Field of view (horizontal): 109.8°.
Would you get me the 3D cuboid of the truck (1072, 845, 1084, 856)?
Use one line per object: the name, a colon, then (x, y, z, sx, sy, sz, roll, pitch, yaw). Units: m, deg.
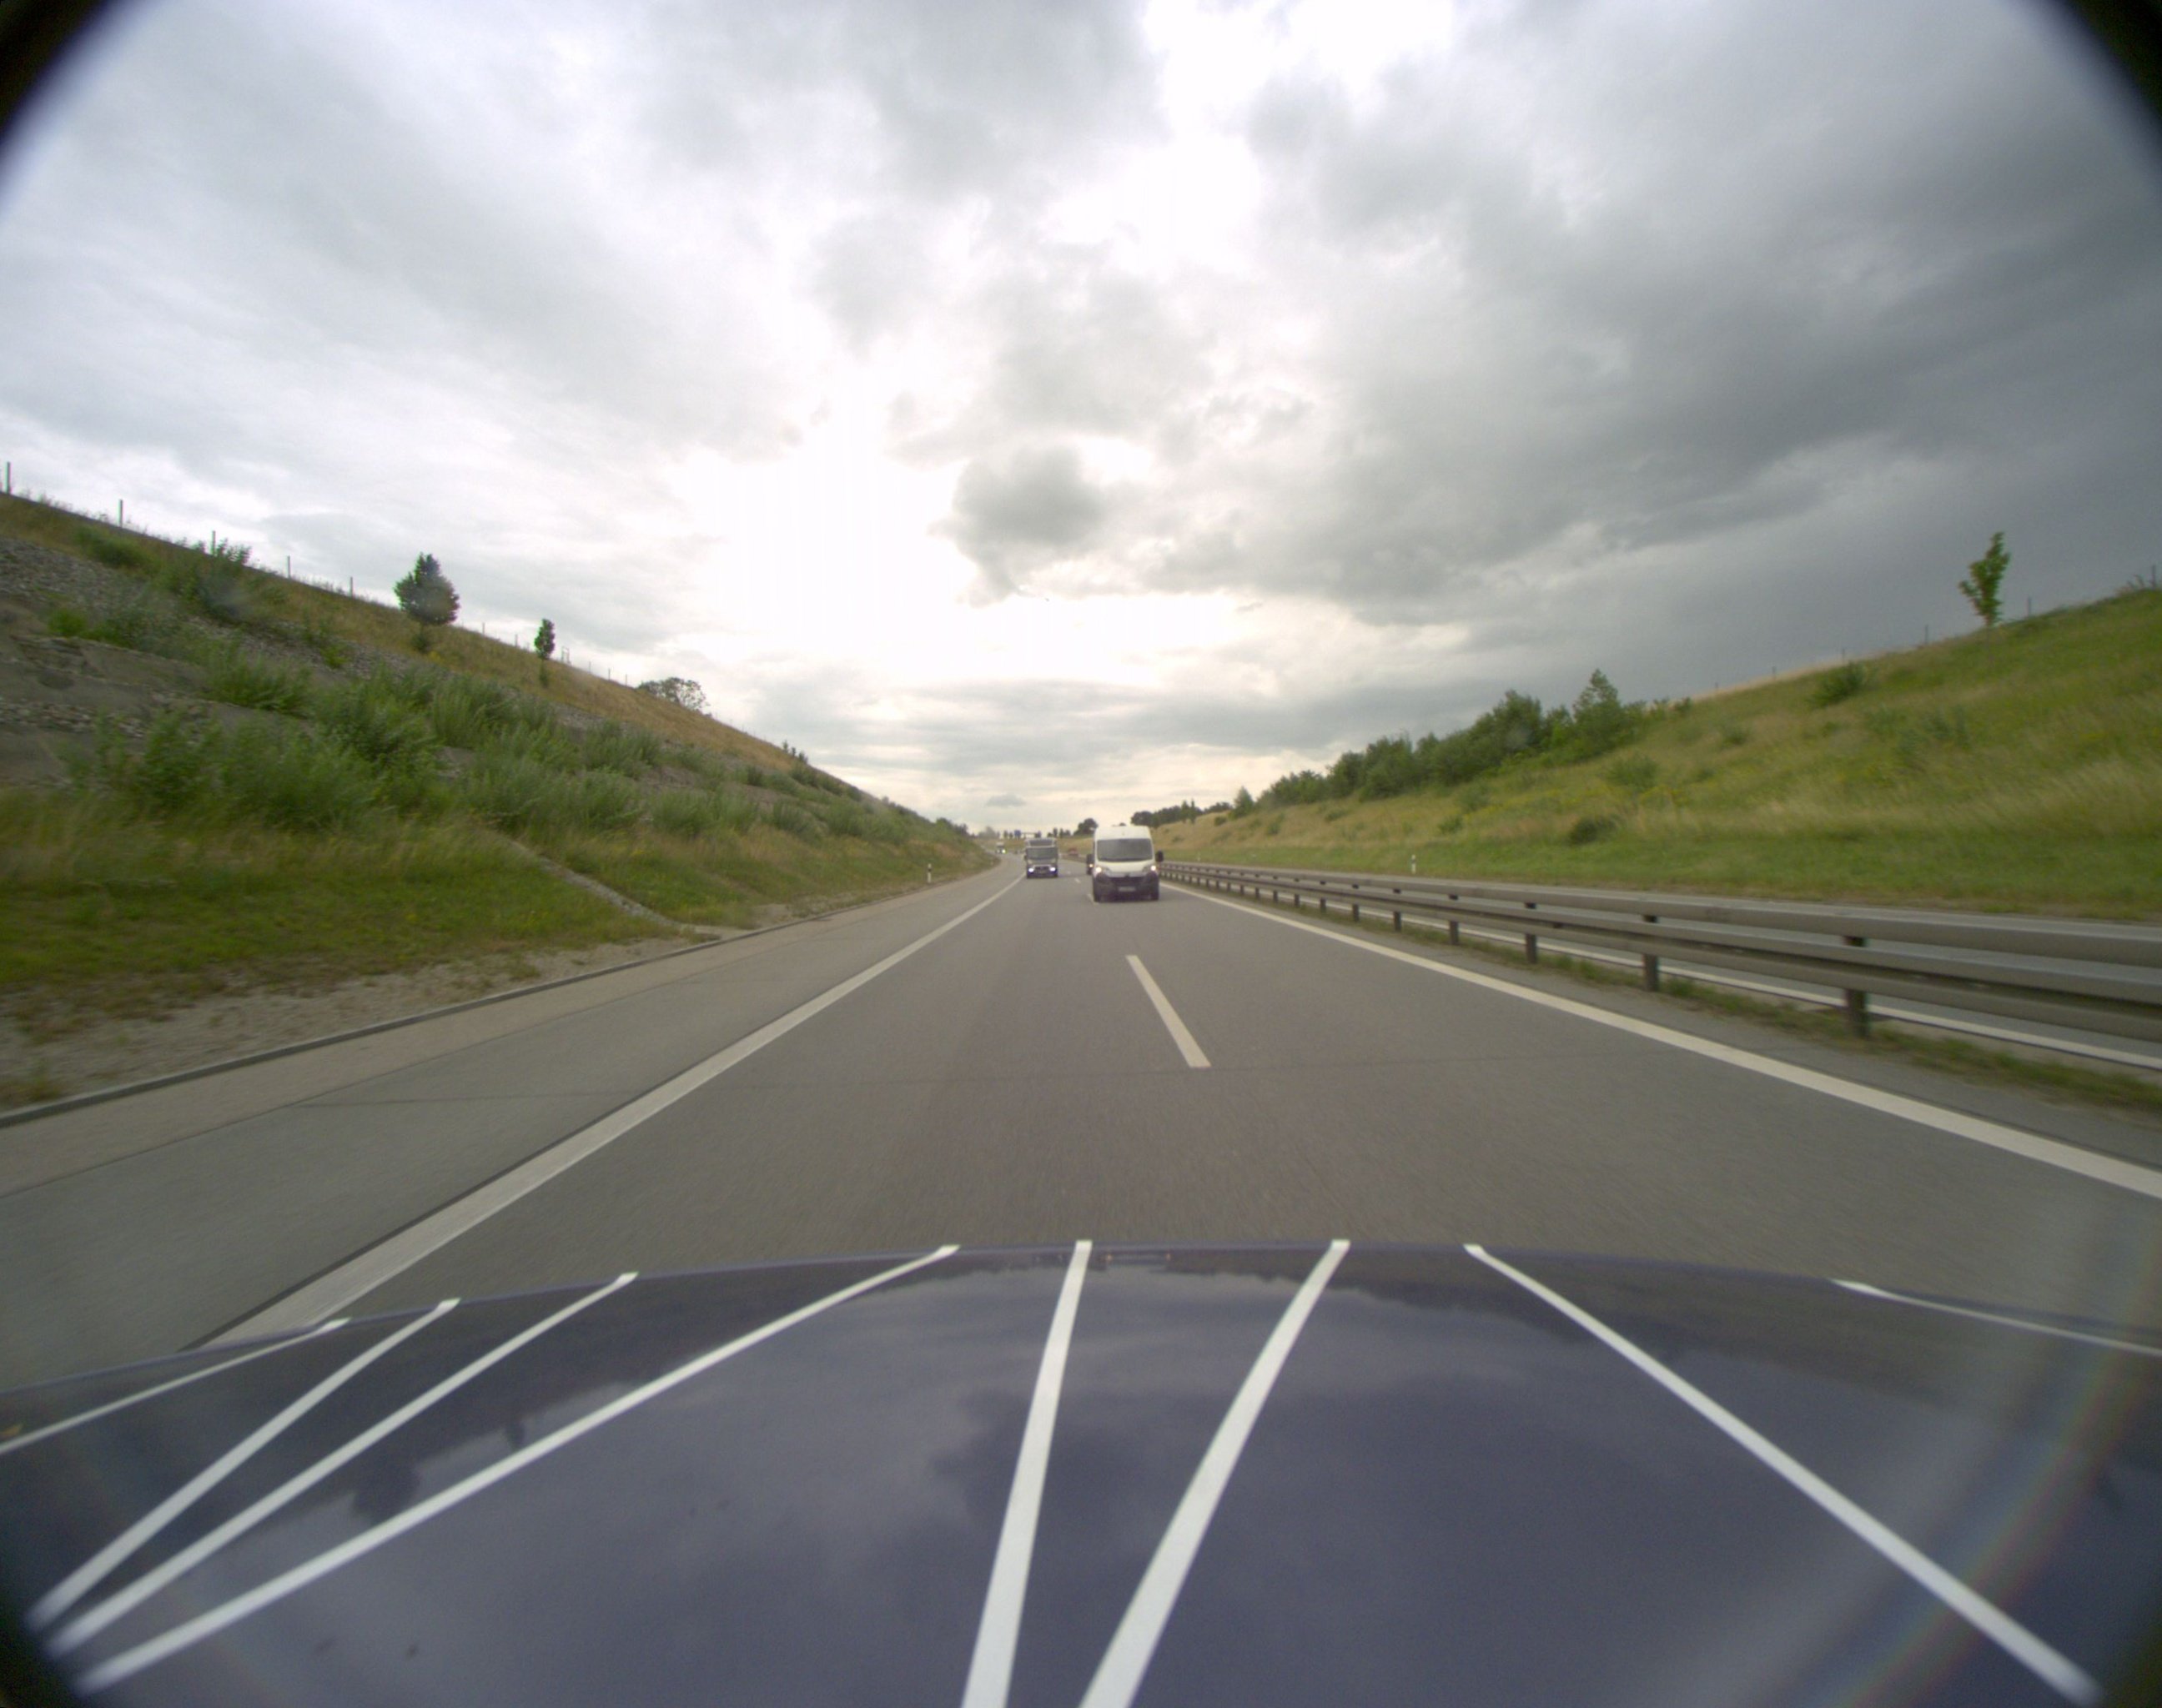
truck: (-0.686, -0.764, 167.549, 2.197, 2.495, 6.551, -1, 1, -3)

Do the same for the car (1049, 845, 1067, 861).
car: (-3.321, -0.157, 107.825, 2.290, 2.259, 6.429, -1, 1, -5)

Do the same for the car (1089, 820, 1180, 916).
car: (1.424, 0.323, 22.834, 2.132, 2.412, 6.110, -2, 1, -1)

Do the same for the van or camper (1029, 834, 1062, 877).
van or camper: (-2.420, 0.058, 52.956, 2.104, 2.721, 6.900, -1, 1, -2)

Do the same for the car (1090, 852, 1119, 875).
car: (1.555, 0.609, 51.567, 1.704, 1.432, 3.644, -1, 1, -3)
